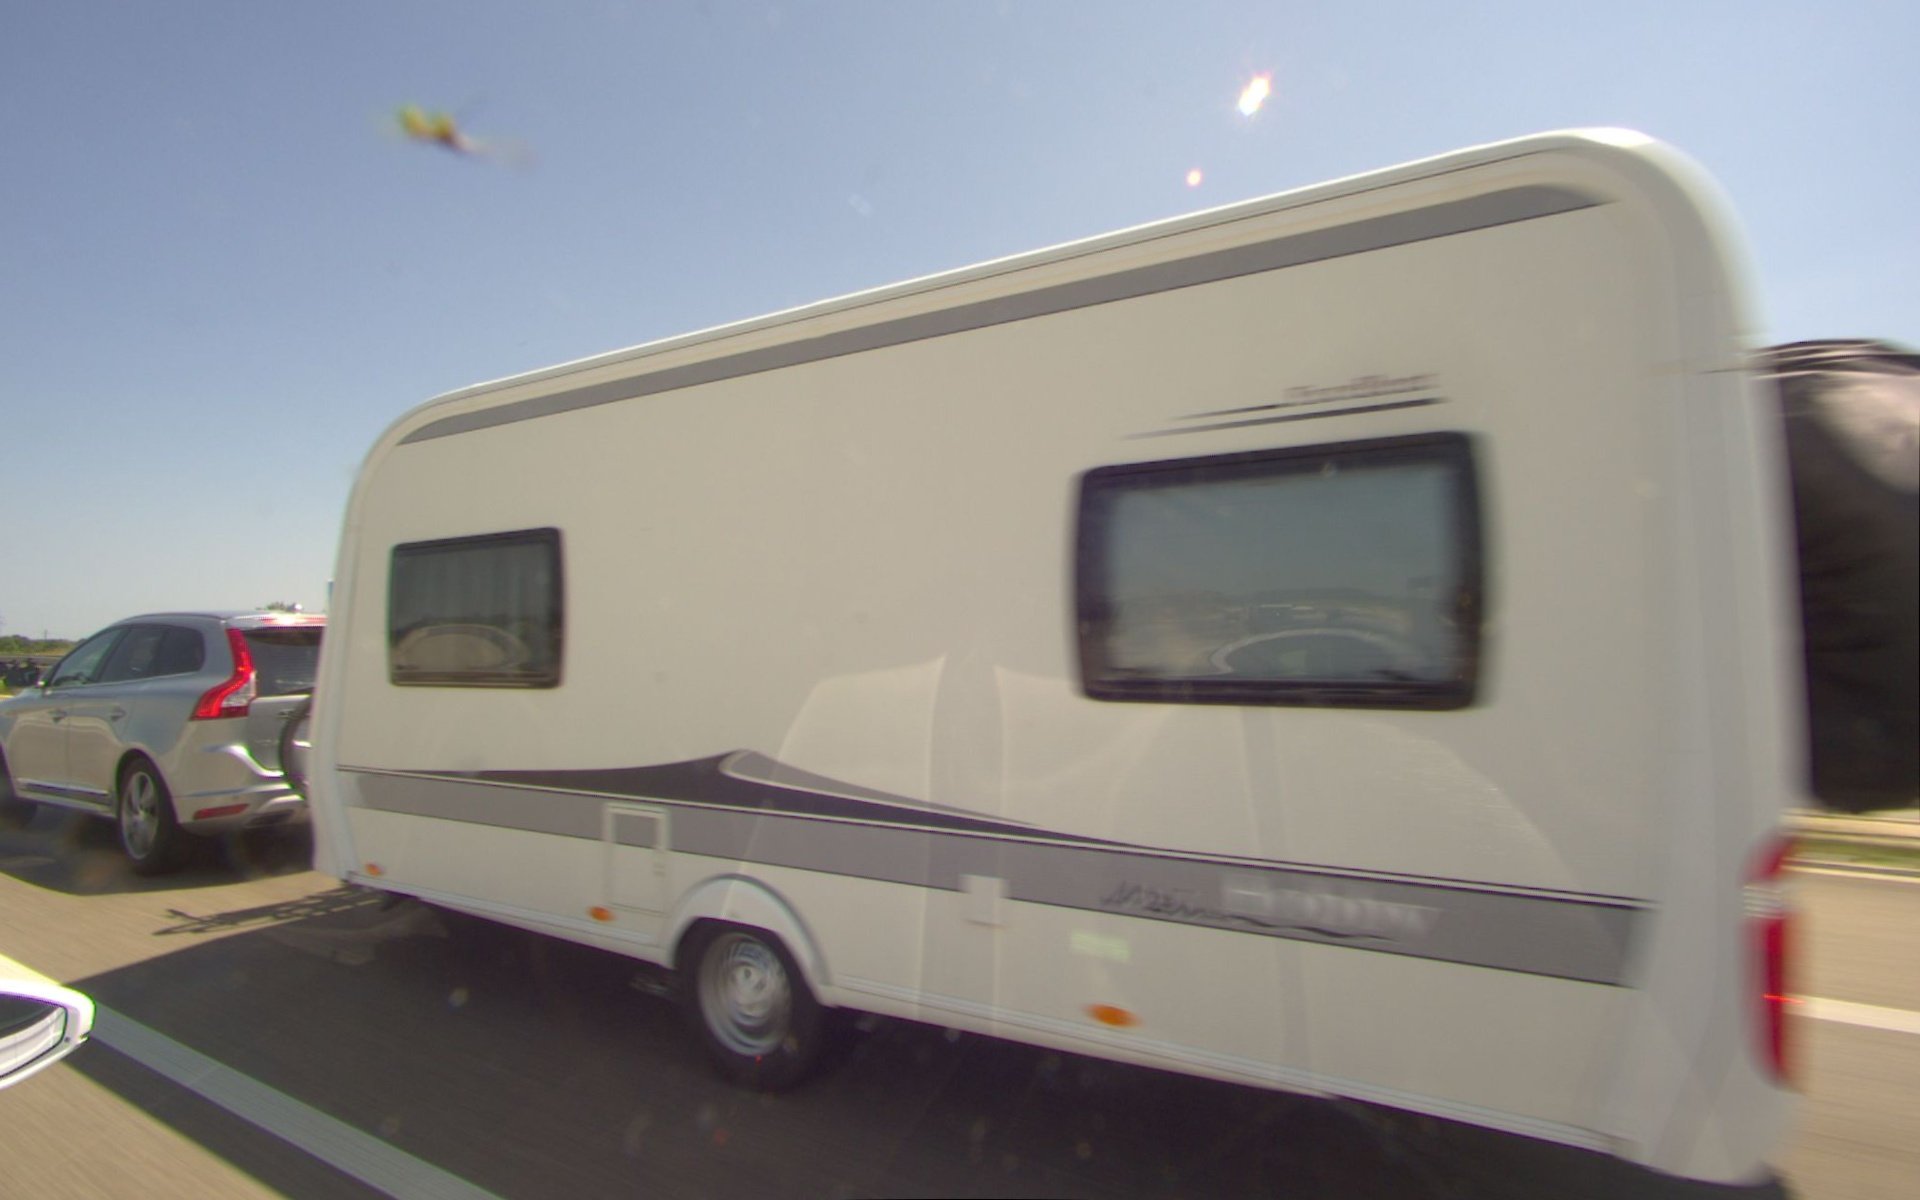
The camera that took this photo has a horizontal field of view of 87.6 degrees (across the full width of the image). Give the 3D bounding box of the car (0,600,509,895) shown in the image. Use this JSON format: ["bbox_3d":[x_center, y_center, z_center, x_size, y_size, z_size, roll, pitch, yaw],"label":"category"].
[{"bbox_3d":[-5.791,0.881,7.677,4.833,1.643,1.878,-1,-2,32],"label":"car"}]

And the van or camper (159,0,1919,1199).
[{"bbox_3d":[-0.225,0.280,4.246,7.704,2.626,2.509,0,-2,32],"label":"van or camper"}]
